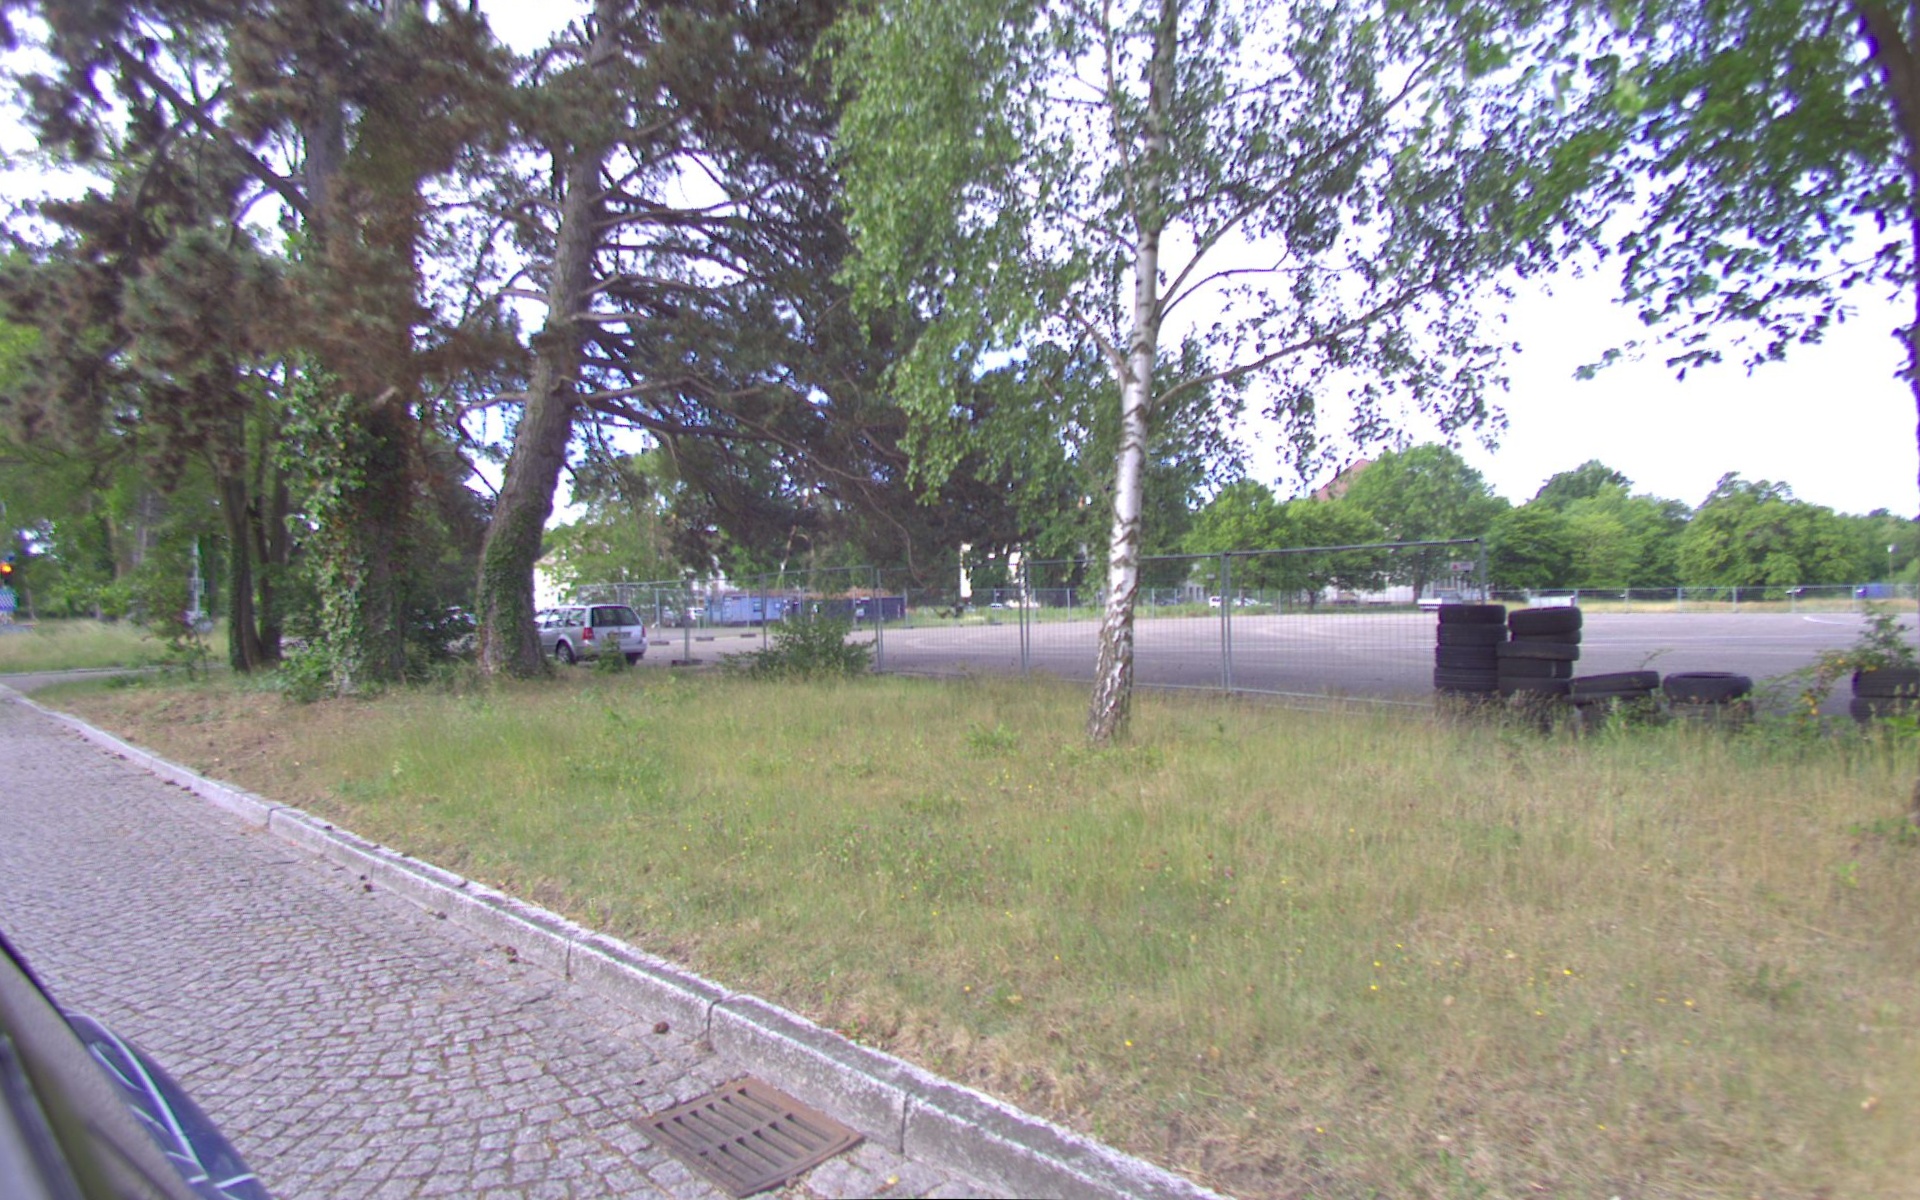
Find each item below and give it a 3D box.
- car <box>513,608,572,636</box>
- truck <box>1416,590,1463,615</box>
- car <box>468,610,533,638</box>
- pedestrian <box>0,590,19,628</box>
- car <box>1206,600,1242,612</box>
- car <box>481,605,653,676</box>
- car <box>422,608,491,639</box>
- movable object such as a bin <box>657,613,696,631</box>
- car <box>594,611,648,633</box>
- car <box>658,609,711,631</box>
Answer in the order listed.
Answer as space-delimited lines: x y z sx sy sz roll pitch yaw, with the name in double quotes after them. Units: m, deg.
-25.725 1.380 62.268 4.112 1.533 1.714 -4 -2 42 "car"
45.136 0.203 95.248 2.373 2.215 6.466 -1 0 41 "truck"
-27.295 1.431 60.036 4.583 1.480 1.816 -3 -2 42 "car"
-38.455 0.360 40.612 0.870 1.529 0.824 -1 -1 -34 "pedestrian"
37.781 0.847 145.006 4.579 1.645 1.817 -1 -1 39 "car"
-9.093 0.895 23.235 4.462 1.449 1.698 -1 0 39 "car"
-28.848 1.342 57.917 4.579 1.590 1.817 -4 -2 39 "car"
-15.227 1.179 54.385 1.931 0.940 1.029 -1 -1 35 "movable object such as a bin"
-26.219 1.705 78.191 4.579 1.533 1.817 -4 -2 39 "car"
-22.506 1.647 82.499 4.579 1.586 1.817 -4 -2 39 "car"
